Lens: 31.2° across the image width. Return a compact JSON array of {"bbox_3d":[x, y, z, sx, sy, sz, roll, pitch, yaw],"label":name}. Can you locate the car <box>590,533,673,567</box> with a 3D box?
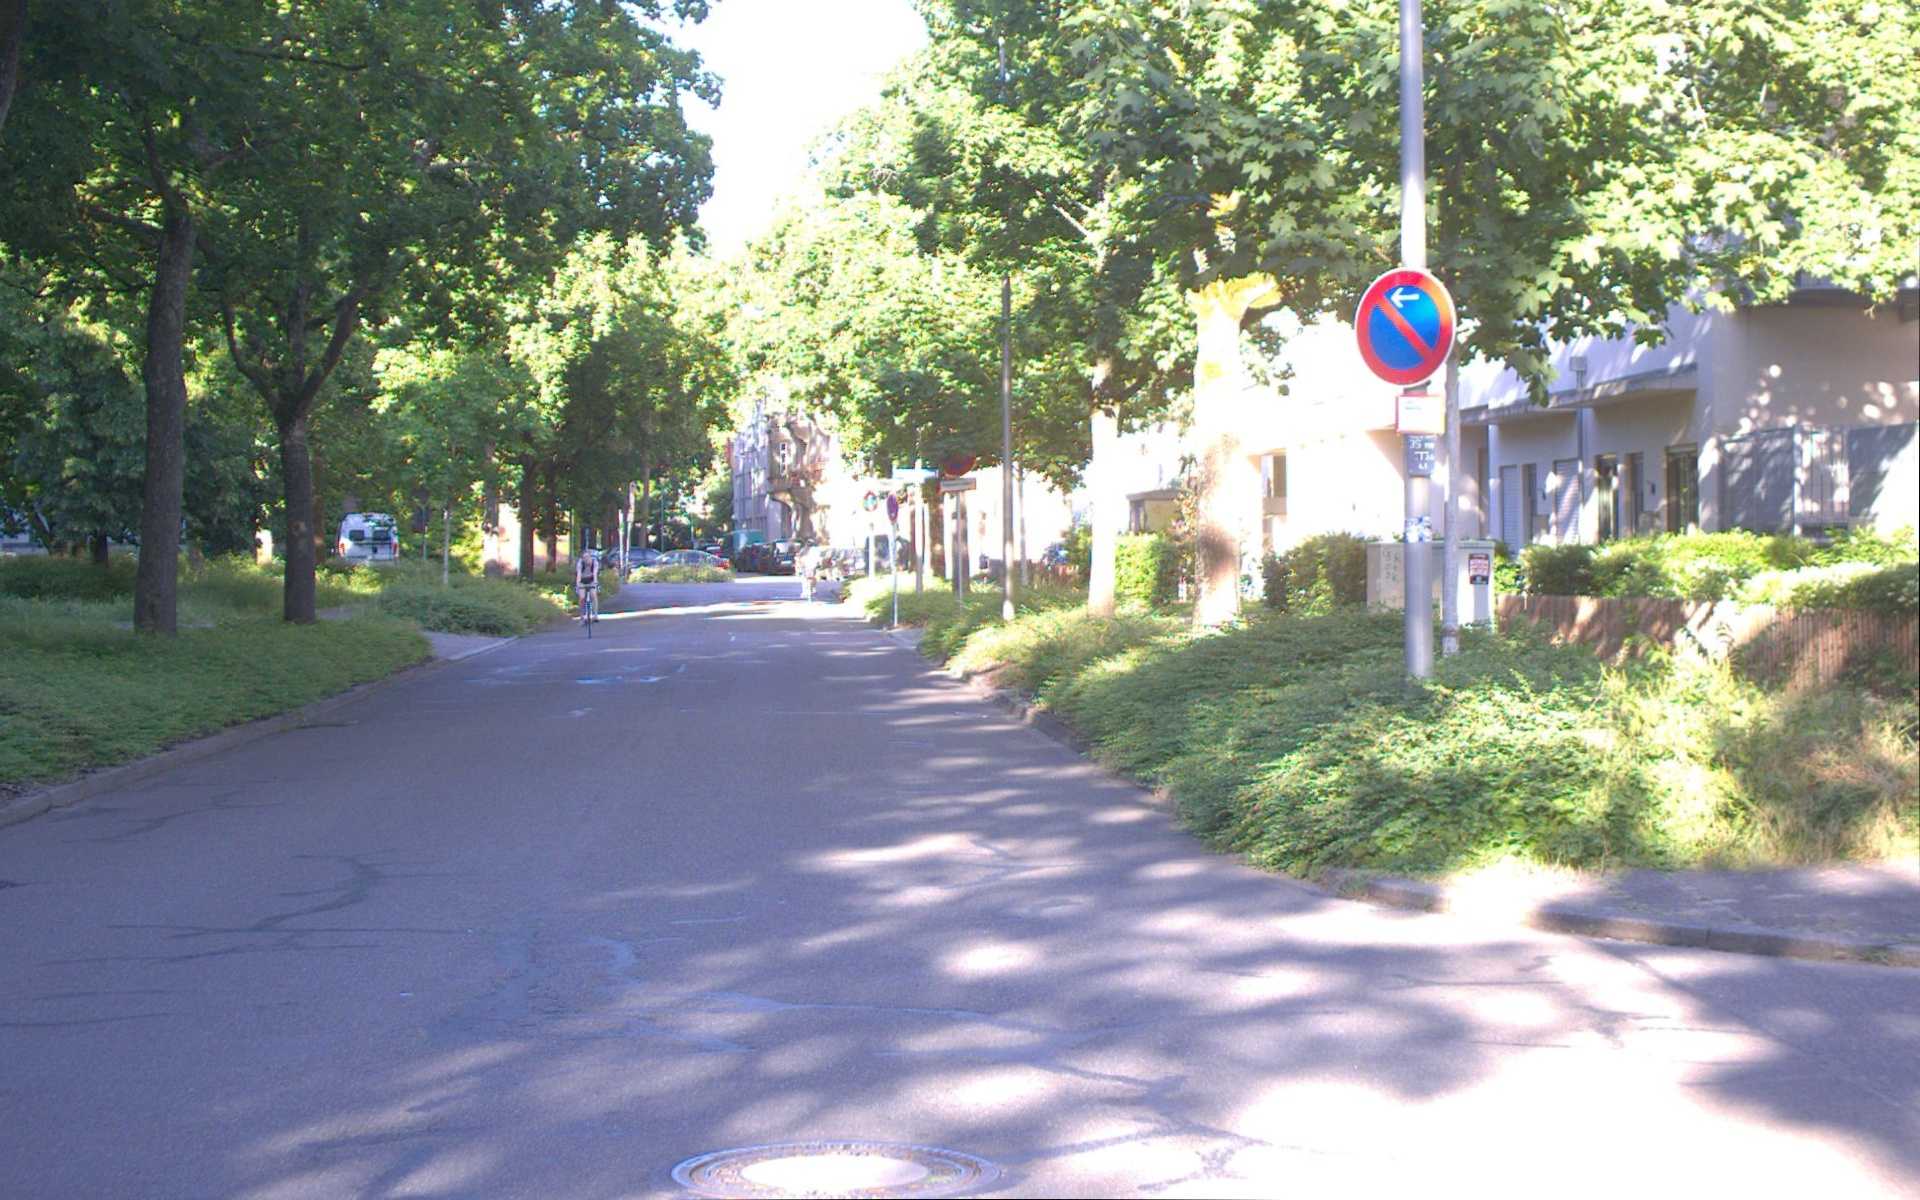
[{"bbox_3d":[-14.846,-2.258,155.290,3.586,1.505,1.500,1,1,-11],"label":"car"}]

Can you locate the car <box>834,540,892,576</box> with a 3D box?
[{"bbox_3d":[-4.120,-1.780,145.636,1.811,1.496,4.001,-1,1,-11],"label":"car"}]

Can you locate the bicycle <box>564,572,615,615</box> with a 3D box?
[{"bbox_3d":[-6.845,-0.132,63.581,0.639,0.739,2.126,-2,1,1],"label":"bicycle"}]

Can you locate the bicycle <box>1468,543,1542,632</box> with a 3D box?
[{"bbox_3d":[7.487,-0.181,47.282,0.617,1.187,1.753,1,1,-3],"label":"bicycle"}]

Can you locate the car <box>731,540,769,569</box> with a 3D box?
[{"bbox_3d":[-11.523,-2.503,188.639,1.811,1.496,4.001,1,1,-7],"label":"car"}]

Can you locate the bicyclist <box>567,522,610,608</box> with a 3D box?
[{"bbox_3d":[-6.865,-0.649,63.579,0.633,1.549,1.002,-2,1,1],"label":"bicyclist"}]

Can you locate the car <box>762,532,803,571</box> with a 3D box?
[{"bbox_3d":[-9.002,-2.486,174.067,1.811,1.919,4.001,1,1,-7],"label":"car"}]

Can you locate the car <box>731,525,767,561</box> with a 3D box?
[{"bbox_3d":[-12.215,-3.294,198.820,1.811,2.043,4.001,1,1,-7],"label":"car"}]

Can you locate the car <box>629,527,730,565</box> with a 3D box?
[{"bbox_3d":[-11.685,-2.246,143.182,3.986,1.496,1.818,1,1,-11],"label":"car"}]

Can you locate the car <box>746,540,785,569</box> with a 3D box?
[{"bbox_3d":[-10.299,-2.407,182.155,1.811,1.496,4.001,1,1,-7],"label":"car"}]

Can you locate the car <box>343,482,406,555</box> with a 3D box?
[{"bbox_3d":[-20.669,-2.871,121.300,1.993,2.499,4.001,1,1,-12],"label":"car"}]
